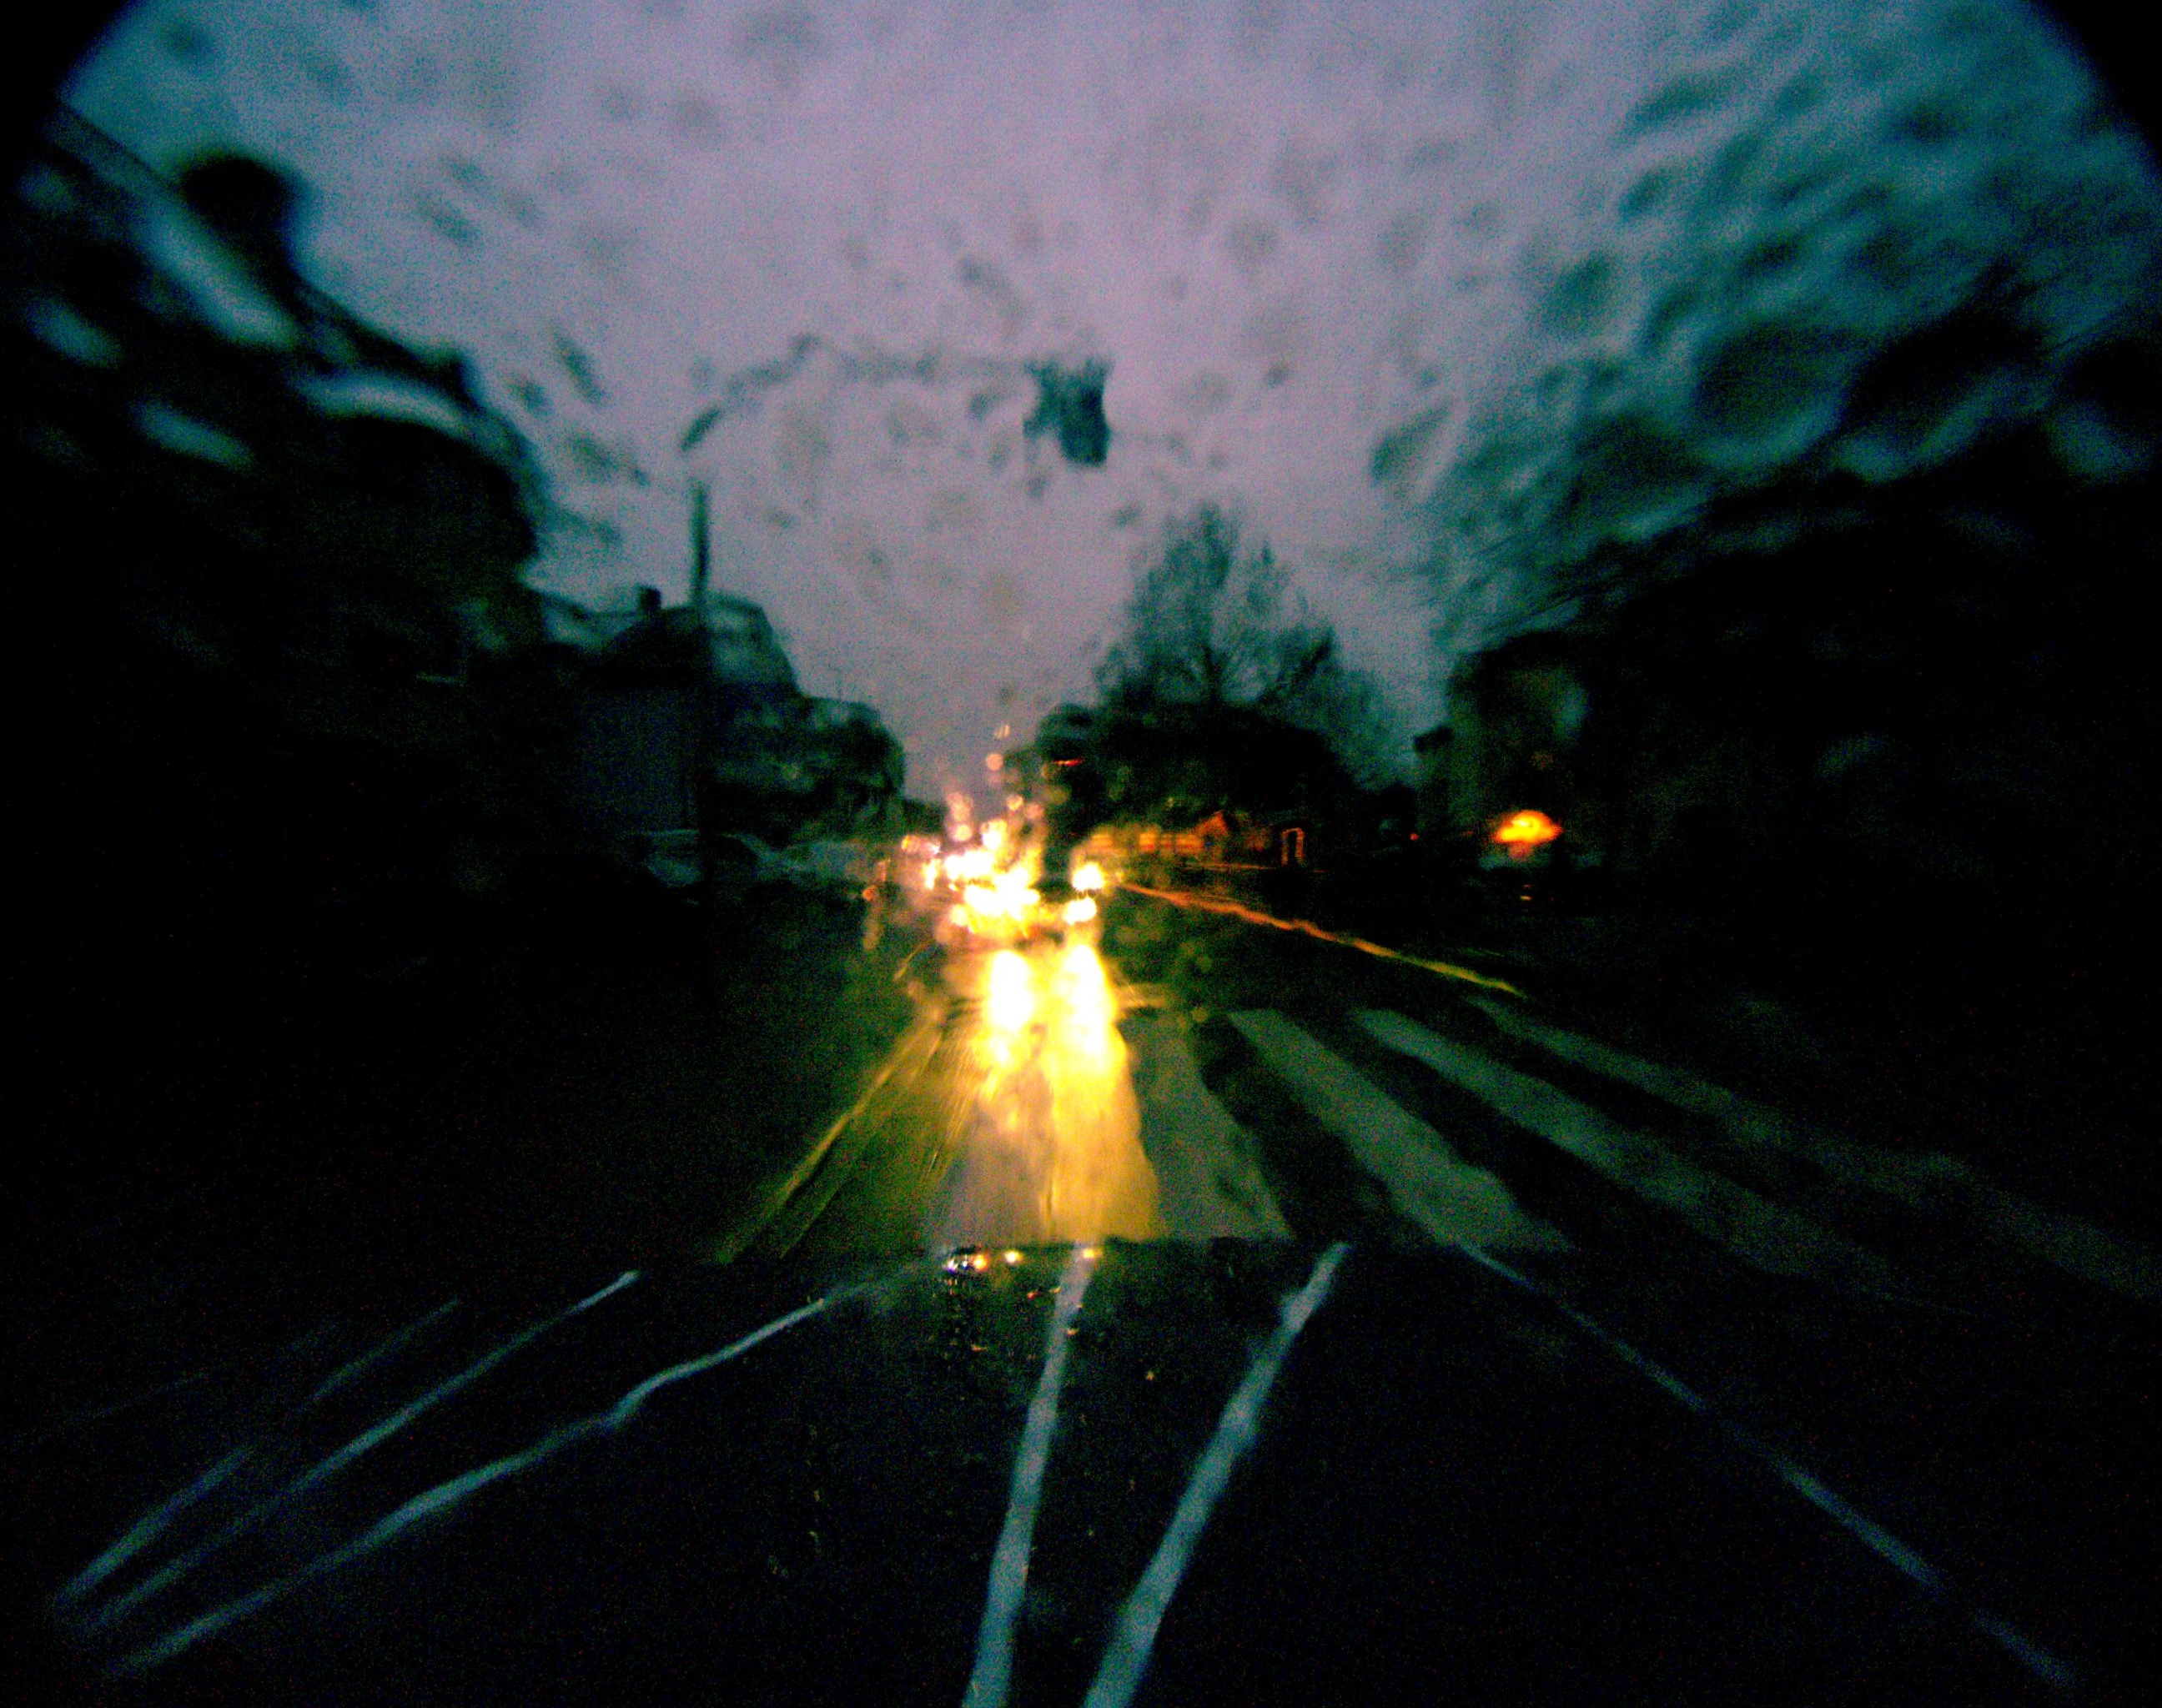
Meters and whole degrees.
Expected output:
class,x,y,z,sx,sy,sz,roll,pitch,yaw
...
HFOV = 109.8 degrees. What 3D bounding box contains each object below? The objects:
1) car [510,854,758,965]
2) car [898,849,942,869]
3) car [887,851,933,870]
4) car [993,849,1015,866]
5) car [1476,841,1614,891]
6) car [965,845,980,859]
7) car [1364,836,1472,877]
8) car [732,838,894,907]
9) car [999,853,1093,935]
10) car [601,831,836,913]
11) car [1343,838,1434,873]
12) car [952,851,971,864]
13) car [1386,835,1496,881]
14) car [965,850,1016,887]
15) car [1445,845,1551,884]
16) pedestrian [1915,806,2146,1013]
class,x,y,z,sx,sy,sz,roll,pitch,yaw
car,-6.399,0.755,11.076,2.770,1.465,1.427,1,1,2
car,-15.074,0.450,71.187,3.893,1.866,1.866,-1,0,-17
car,-14.777,0.570,65.698,3.856,1.618,1.609,0,0,-16
car,-7.949,0.320,78.156,1.901,1.607,3.823,-2,1,-10
car,14.041,0.363,23.163,3.476,1.401,1.613,-2,1,30
car,-15.716,-0.291,109.966,1.839,2.002,3.695,-2,1,-13
car,13.974,0.102,31.730,3.991,1.623,1.637,-1,1,19
car,-7.644,0.506,21.993,4.053,1.833,1.863,1,1,-3
car,-0.814,0.767,16.385,1.732,1.475,3.602,-3,1,-5
car,-9.015,0.438,19.184,4.993,1.878,1.937,1,0,1
car,14.821,0.088,36.643,3.990,1.623,1.637,-1,1,24
car,-13.975,0.371,88.826,1.903,1.457,3.995,-2,1,-13
car,13.536,0.168,28.639,3.625,1.603,1.613,-2,1,28
car,-4.329,0.646,35.847,1.925,1.608,3.864,-2,1,-13
car,14.098,0.351,25.814,3.048,1.213,1.613,-2,1,28
pedestrian,8.522,0.474,6.883,0.881,1.725,0.956,-1,0,10
